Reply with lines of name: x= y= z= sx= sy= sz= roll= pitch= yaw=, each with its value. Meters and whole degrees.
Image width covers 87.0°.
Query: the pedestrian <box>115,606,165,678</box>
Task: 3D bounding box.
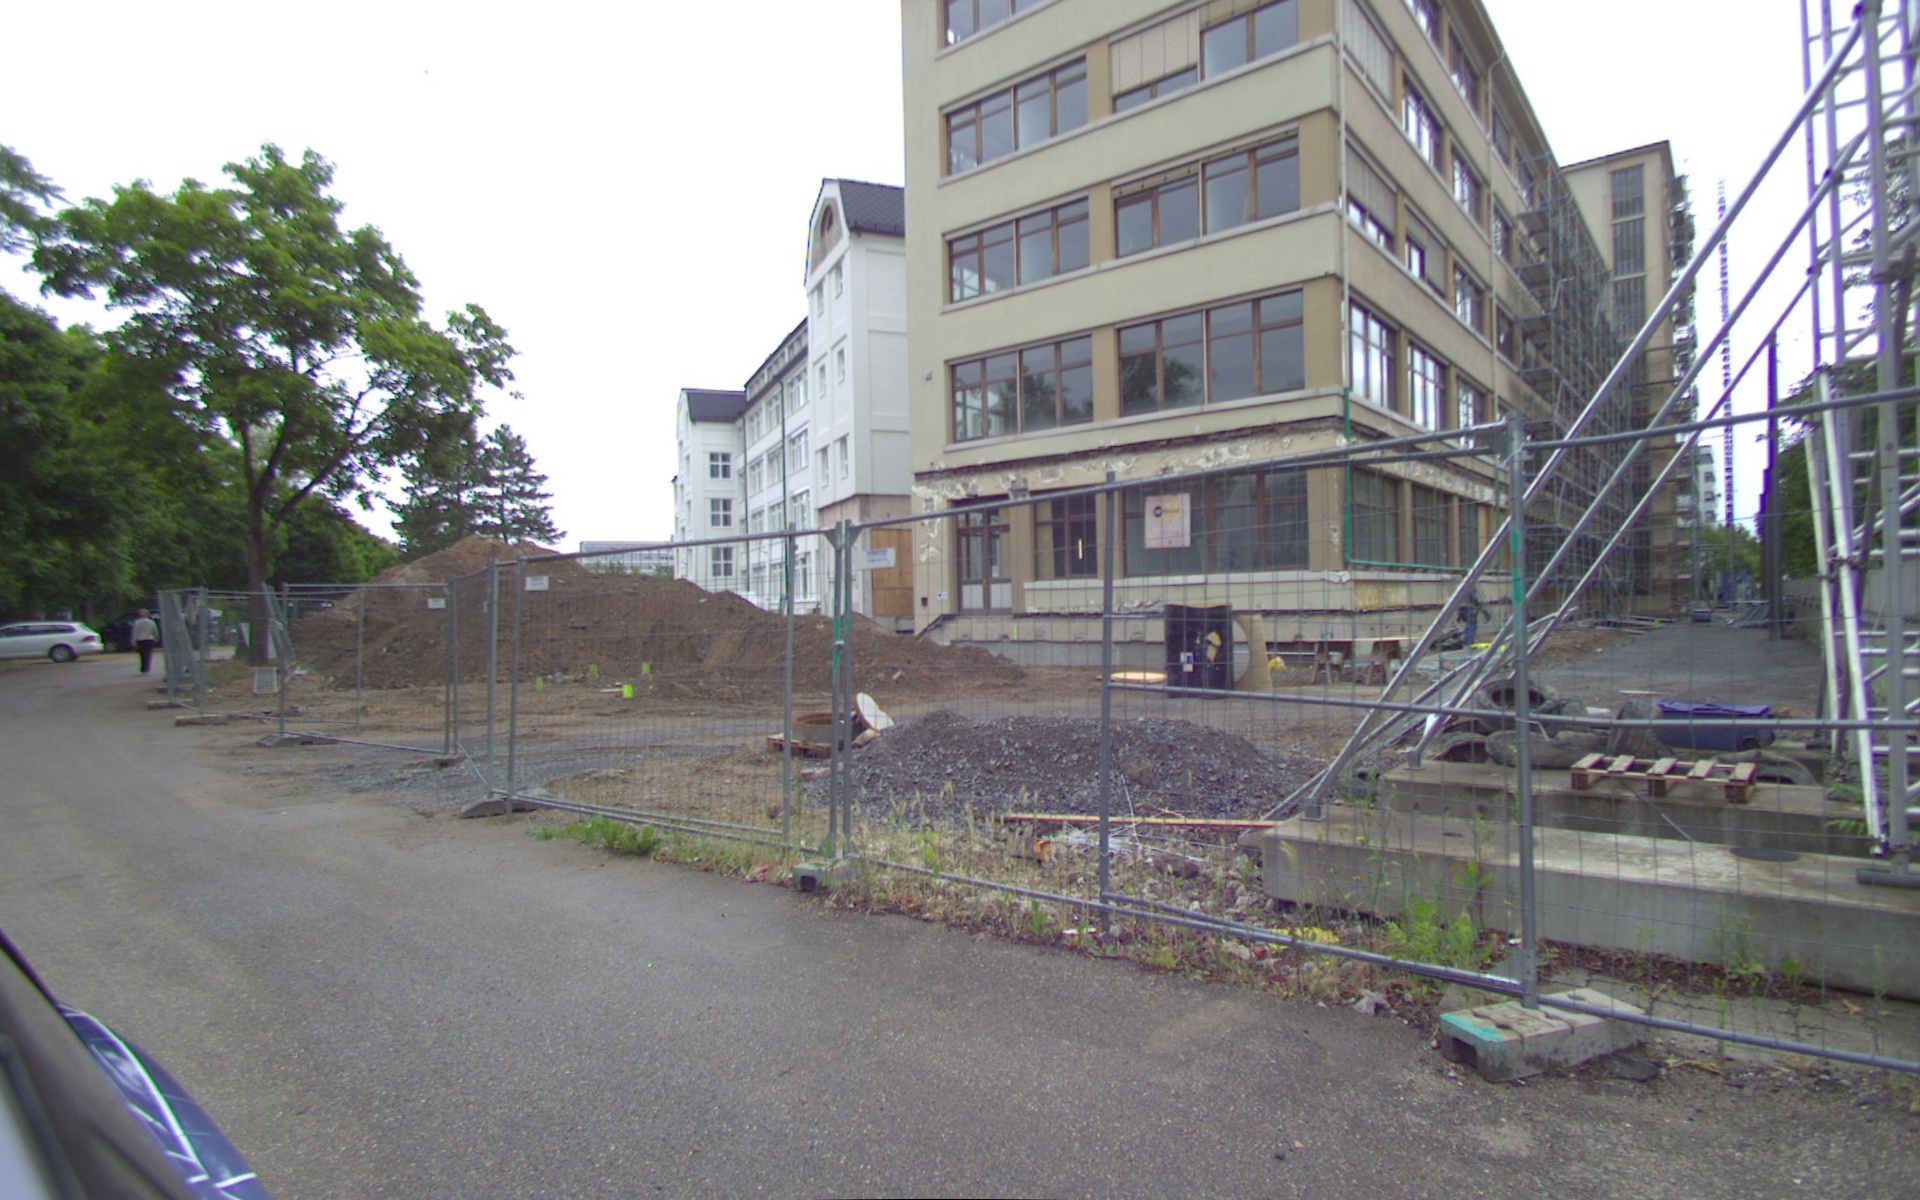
pedestrian: x=-20.912 y=1.058 z=25.813 sx=0.657 sy=1.795 sz=0.747 roll=-1 pitch=-1 yaw=16

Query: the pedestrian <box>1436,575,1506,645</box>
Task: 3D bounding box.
pedestrian: x=10.925 y=0.216 z=21.650 sx=0.966 sy=1.448 sz=0.934 roll=0 pitch=-1 yaw=-26

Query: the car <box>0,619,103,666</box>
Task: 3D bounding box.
car: x=-33.787 y=1.551 z=36.786 sx=3.822 sy=1.586 sz=1.756 roll=-1 pitch=0 yaw=-35

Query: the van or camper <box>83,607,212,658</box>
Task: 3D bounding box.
van or camper: x=-38.773 y=1.503 z=48.417 sx=4.423 sy=2.275 sz=2.007 roll=-1 pitch=-1 yaw=-23

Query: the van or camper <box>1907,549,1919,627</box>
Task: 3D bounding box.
van or camper: x=36.118 y=-0.464 z=37.023 sx=2.001 sy=2.773 sz=3.942 roll=-2 pitch=-1 yaw=44
